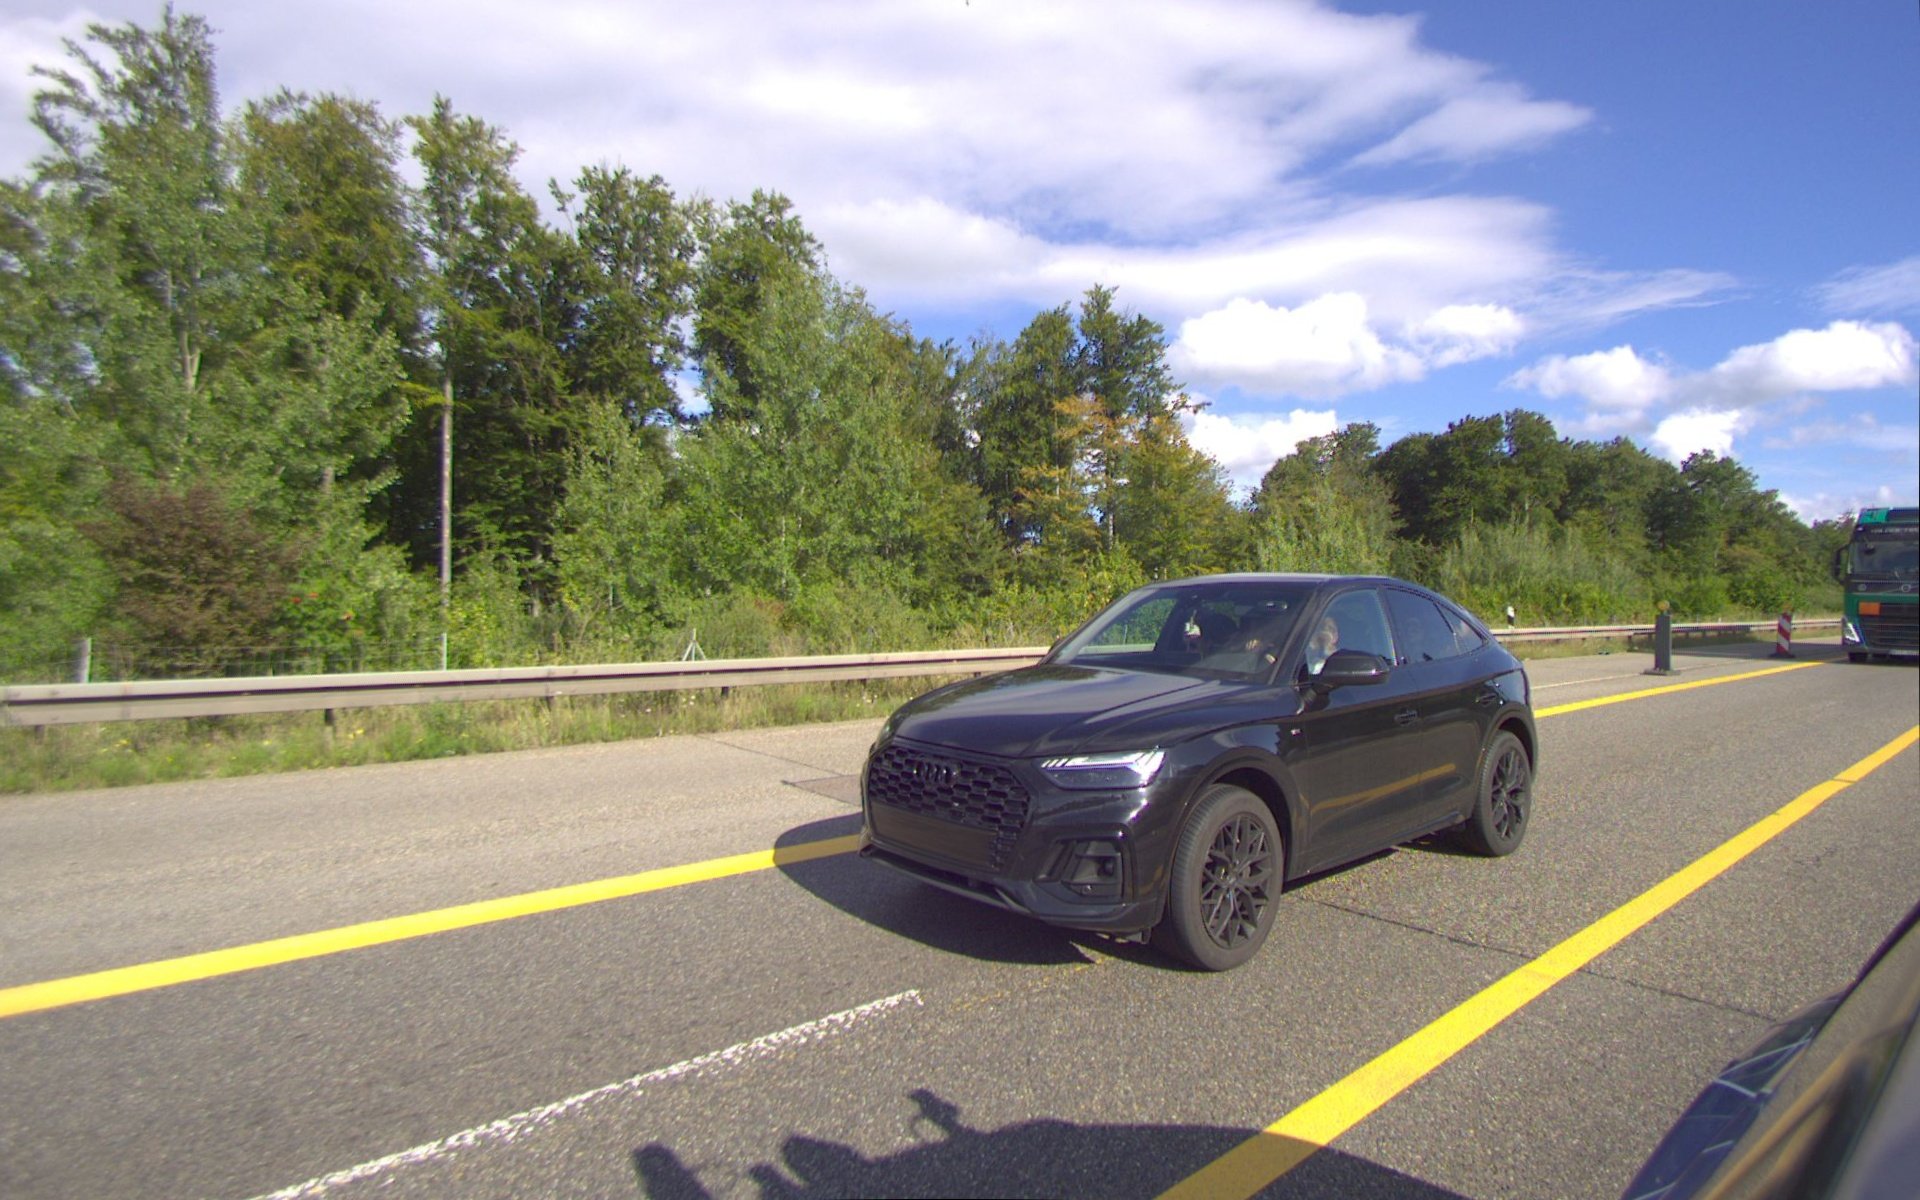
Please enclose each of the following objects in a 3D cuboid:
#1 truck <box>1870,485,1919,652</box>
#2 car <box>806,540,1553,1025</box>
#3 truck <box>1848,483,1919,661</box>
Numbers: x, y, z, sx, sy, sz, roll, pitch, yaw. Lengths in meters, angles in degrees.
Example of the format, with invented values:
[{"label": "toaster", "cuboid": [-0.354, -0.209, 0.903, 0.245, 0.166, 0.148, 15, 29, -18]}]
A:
[{"label": "truck", "cuboid": [29.753, -0.742, 29.704, 13.954, 4.196, 2.469, 1, -1, -39]}, {"label": "car", "cuboid": [1.441, 0.595, 5.456, 4.219, 1.623, 1.781, 0, 0, -41]}, {"label": "truck", "cuboid": [25.034, -0.675, 25.800, 6.734, 4.151, 2.527, 0, 0, -39]}]
